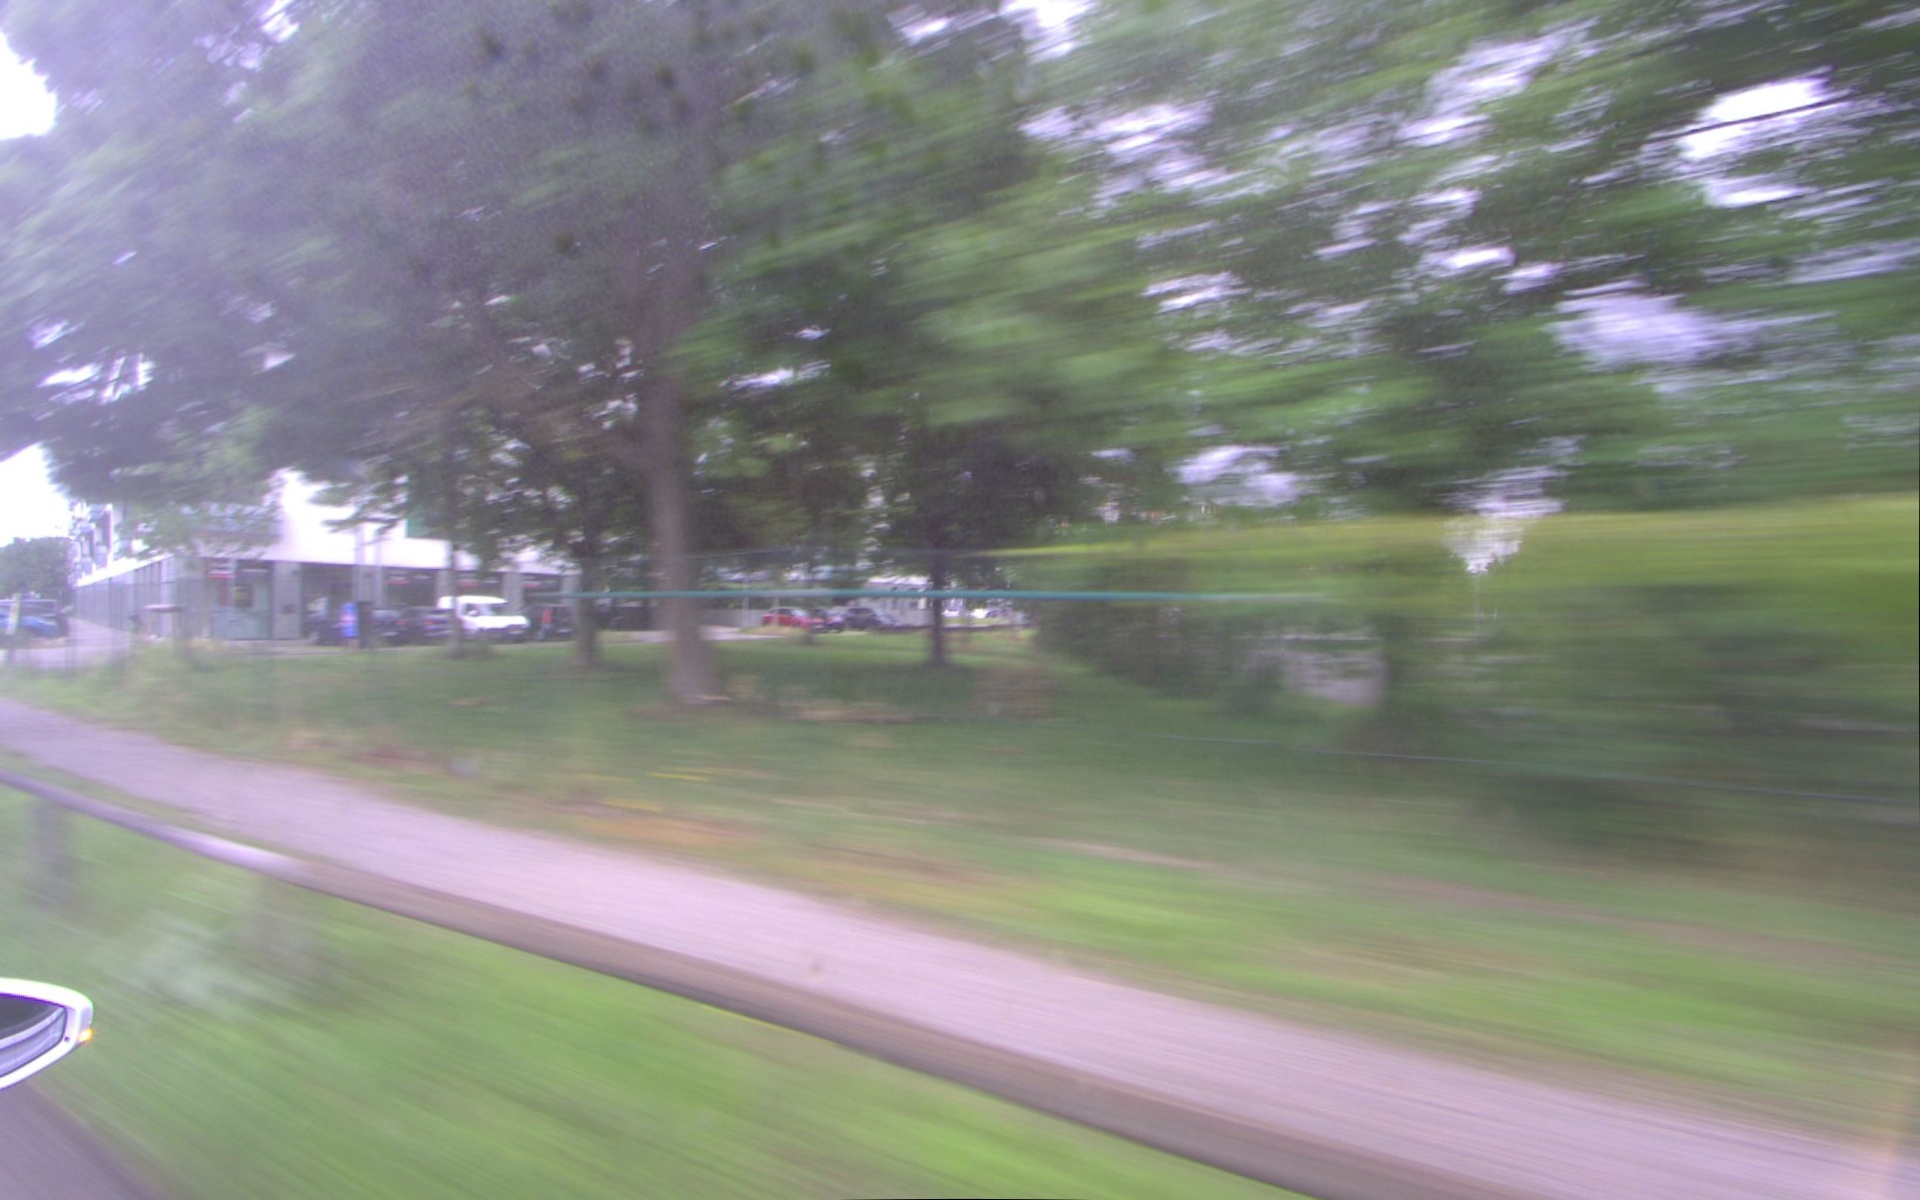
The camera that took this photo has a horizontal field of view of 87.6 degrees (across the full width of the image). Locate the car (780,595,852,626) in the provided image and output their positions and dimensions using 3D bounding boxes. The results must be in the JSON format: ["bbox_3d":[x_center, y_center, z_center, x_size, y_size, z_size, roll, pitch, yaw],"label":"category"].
[{"bbox_3d":[-8.796,0.645,60.969,4.124,1.773,1.871,1,0,32],"label":"car"}]

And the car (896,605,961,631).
[{"bbox_3d":[-2.257,1.267,70.796,4.195,1.759,2.000,1,0,32],"label":"car"}]

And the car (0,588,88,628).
[{"bbox_3d":[-37.595,0.292,39.419,4.831,1.520,1.824,2,0,-44],"label":"car"}]

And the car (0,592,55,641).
[{"bbox_3d":[-34.865,0.540,34.941,4.831,1.684,1.824,2,0,-44],"label":"car"}]

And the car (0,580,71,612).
[{"bbox_3d":[-54.520,-0.239,58.085,1.979,1.742,4.301,1,0,45],"label":"car"}]

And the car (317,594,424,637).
[{"bbox_3d":[-21.531,0.553,36.549,3.716,1.450,1.820,1,0,31],"label":"car"}]

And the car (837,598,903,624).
[{"bbox_3d":[-5.773,0.694,64.251,3.936,1.562,1.784,1,0,32],"label":"car"}]

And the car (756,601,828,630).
[{"bbox_3d":[-9.770,0.882,58.152,3.940,1.595,1.744,1,0,30],"label":"car"}]

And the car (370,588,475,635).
[{"bbox_3d":[-20.823,0.443,38.759,3.898,1.722,1.851,1,0,31],"label":"car"}]

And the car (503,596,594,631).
[{"bbox_3d":[-17.923,0.582,43.604,3.716,1.450,1.820,1,0,31],"label":"car"}]

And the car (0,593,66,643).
[{"bbox_3d":[-33.026,0.567,33.333,4.831,1.637,1.824,2,0,-44],"label":"car"}]

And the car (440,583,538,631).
[{"bbox_3d":[-19.219,0.275,40.855,3.942,1.854,1.794,1,0,32],"label":"car"}]
